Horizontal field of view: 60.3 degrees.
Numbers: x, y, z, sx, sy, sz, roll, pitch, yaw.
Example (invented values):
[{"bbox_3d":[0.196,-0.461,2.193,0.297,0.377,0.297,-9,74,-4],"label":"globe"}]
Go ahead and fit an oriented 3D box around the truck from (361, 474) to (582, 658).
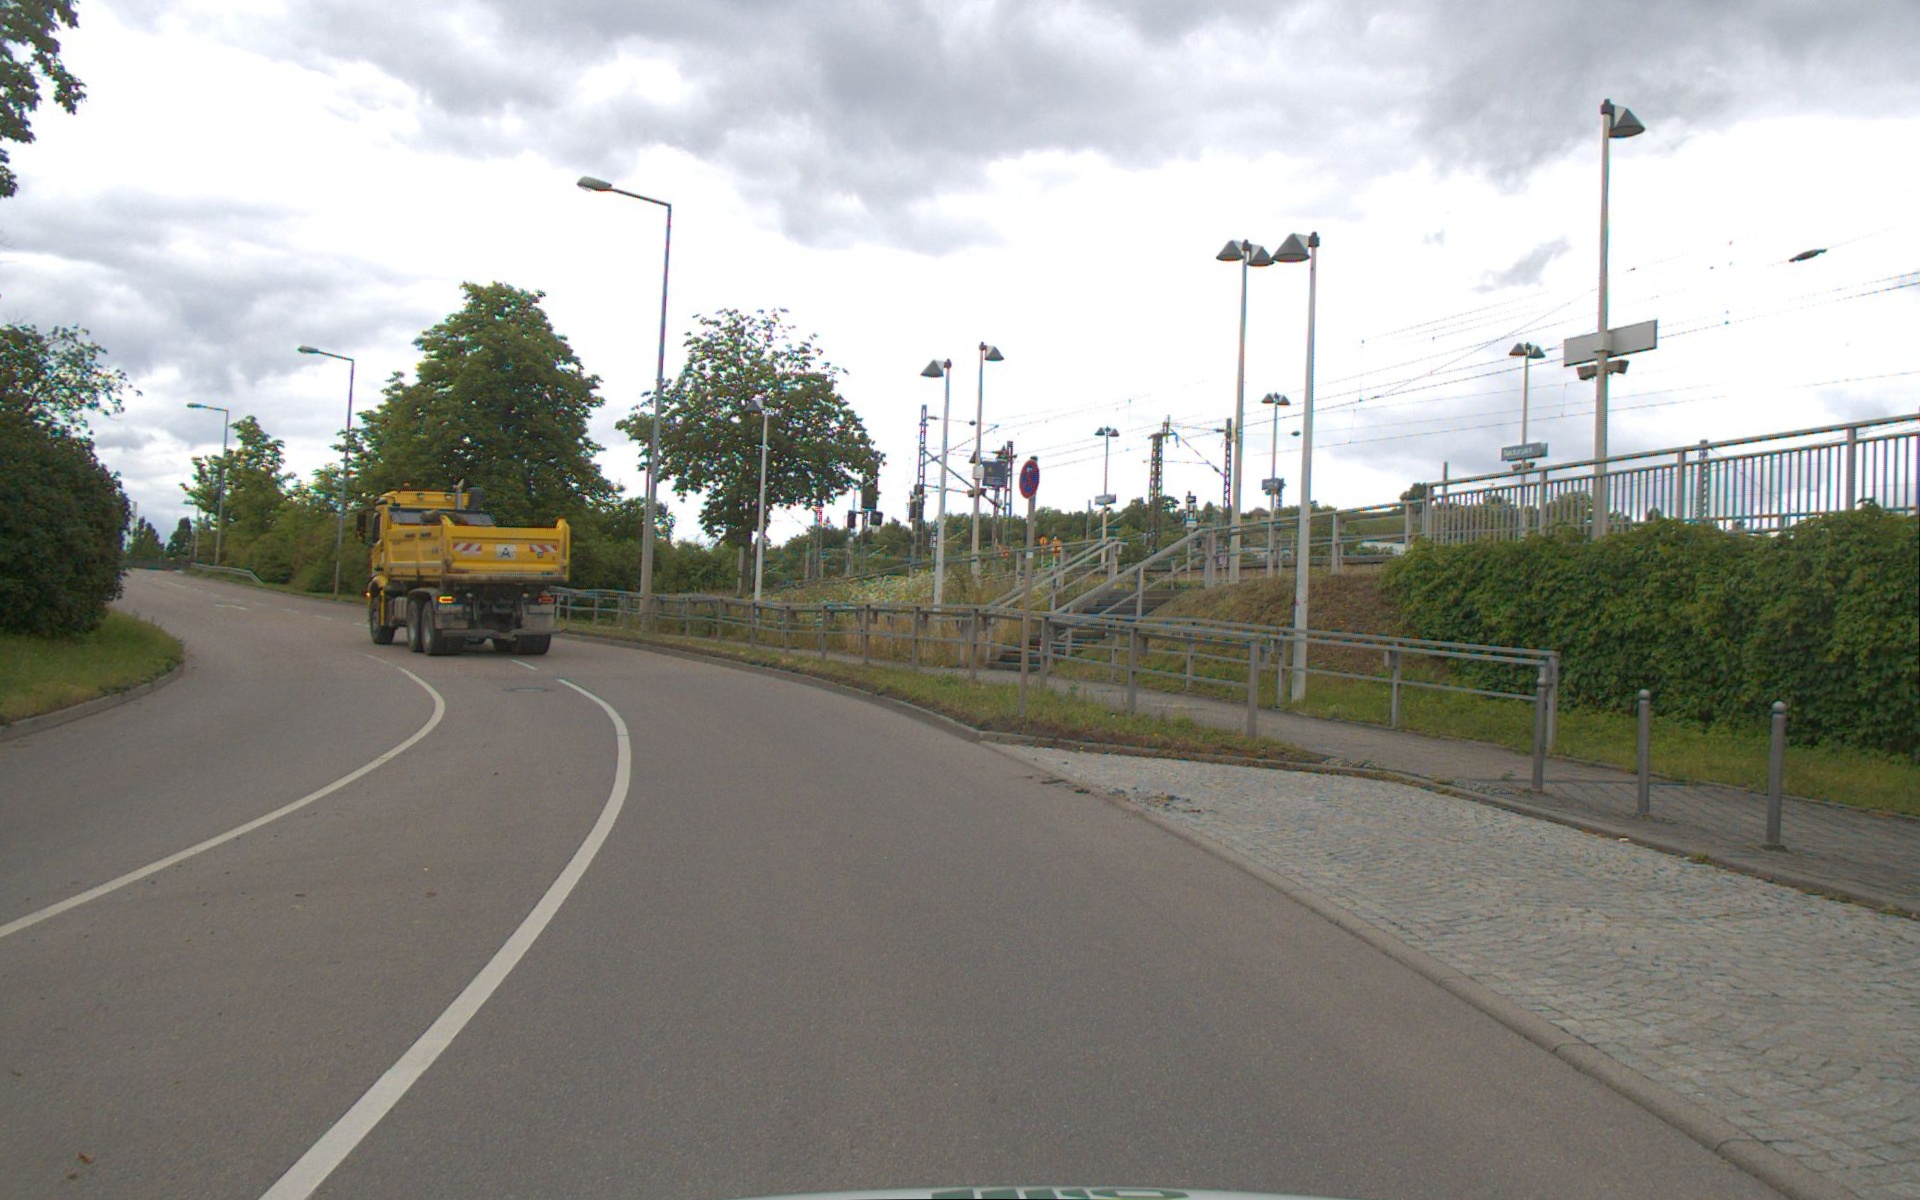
[{"bbox_3d":[-10.820,-0.762,36.014,2.736,3.544,8.046,1,1,-30],"label":"truck"}]
